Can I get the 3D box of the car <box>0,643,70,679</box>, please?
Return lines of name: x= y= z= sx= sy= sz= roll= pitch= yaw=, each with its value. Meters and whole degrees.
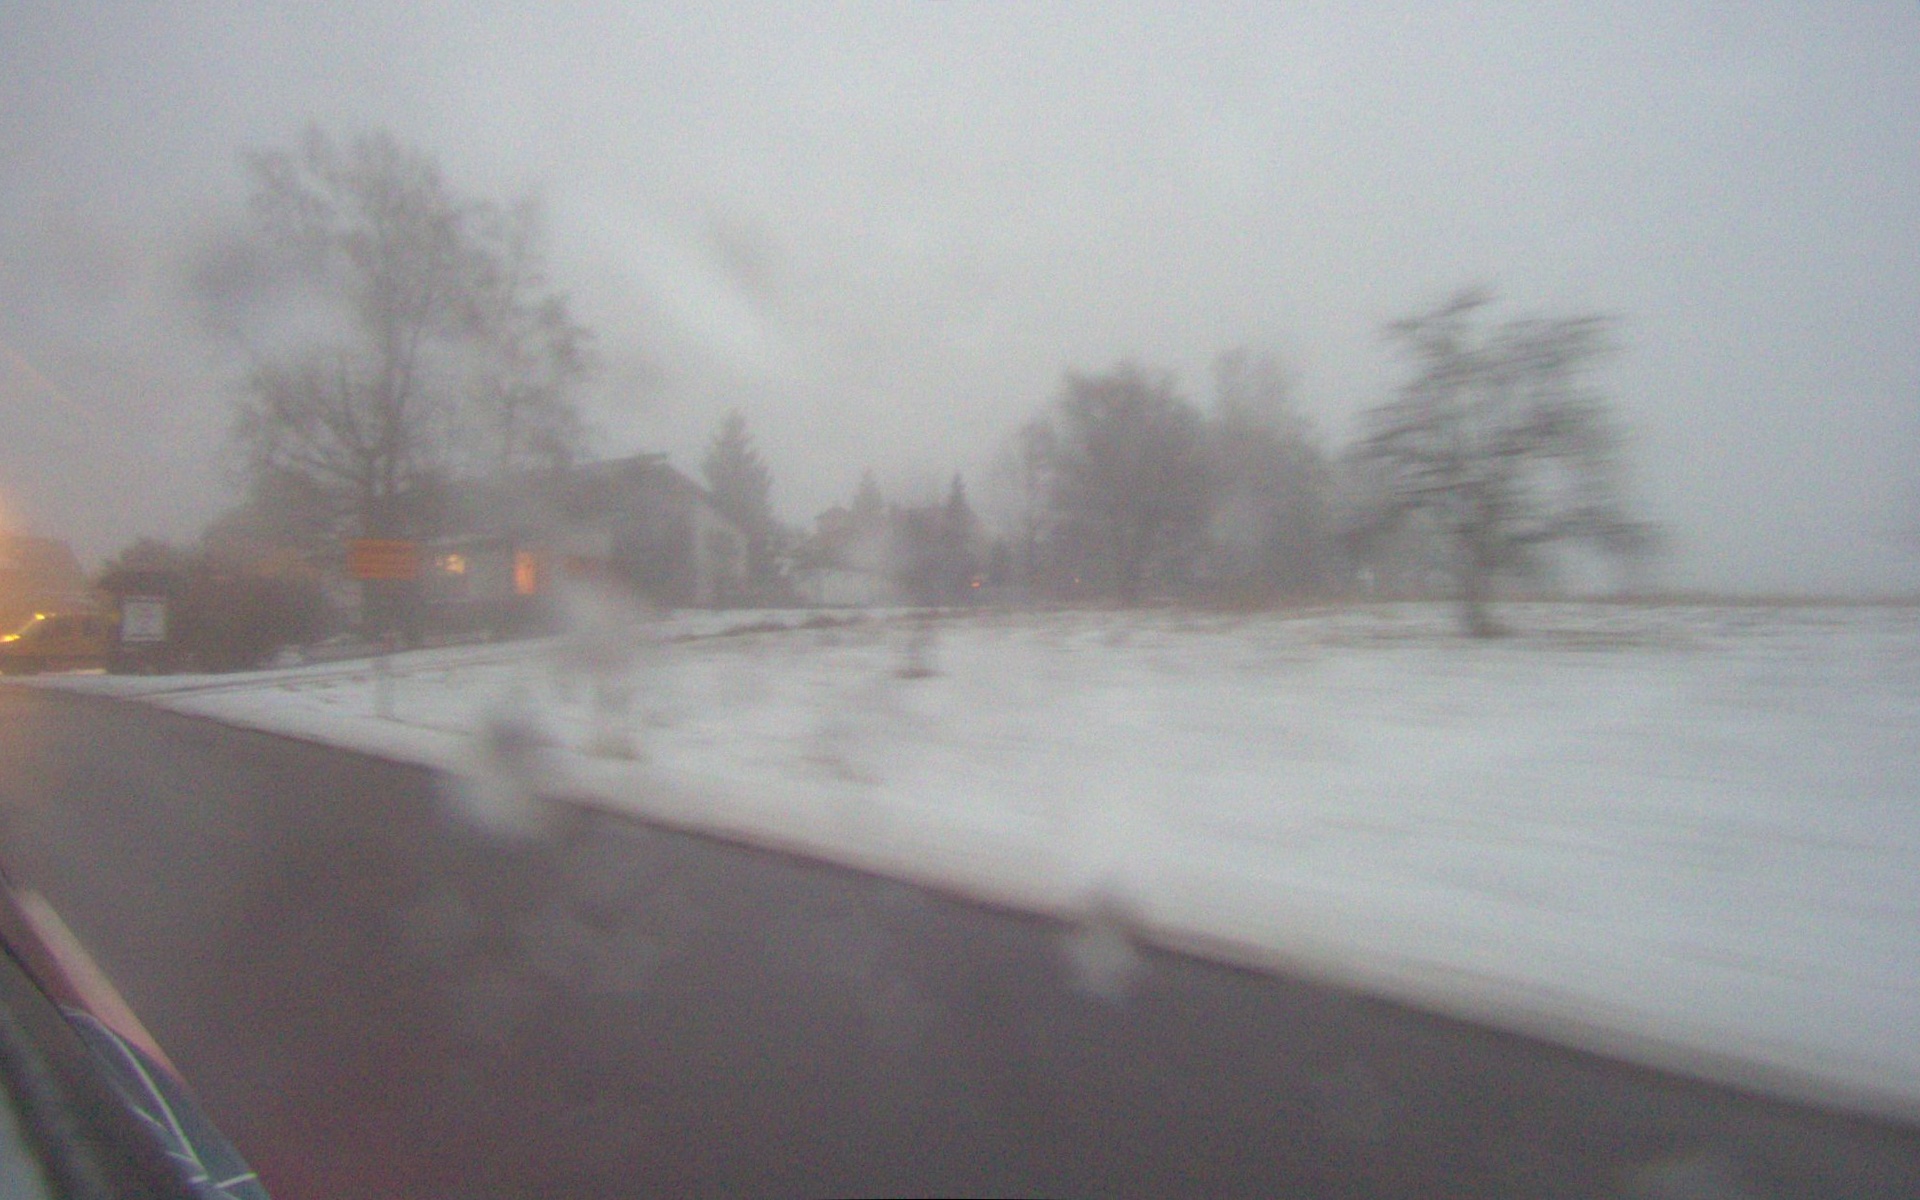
car: x=-41.567 y=2.634 z=43.244 sx=2.113 sy=1.496 sz=4.856 roll=-3 pitch=-5 yaw=28

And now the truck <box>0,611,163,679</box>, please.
truck: x=-33.419 y=1.768 z=37.872 sx=1.990 sy=2.321 sz=5.229 roll=-3 pitch=-5 yaw=27
